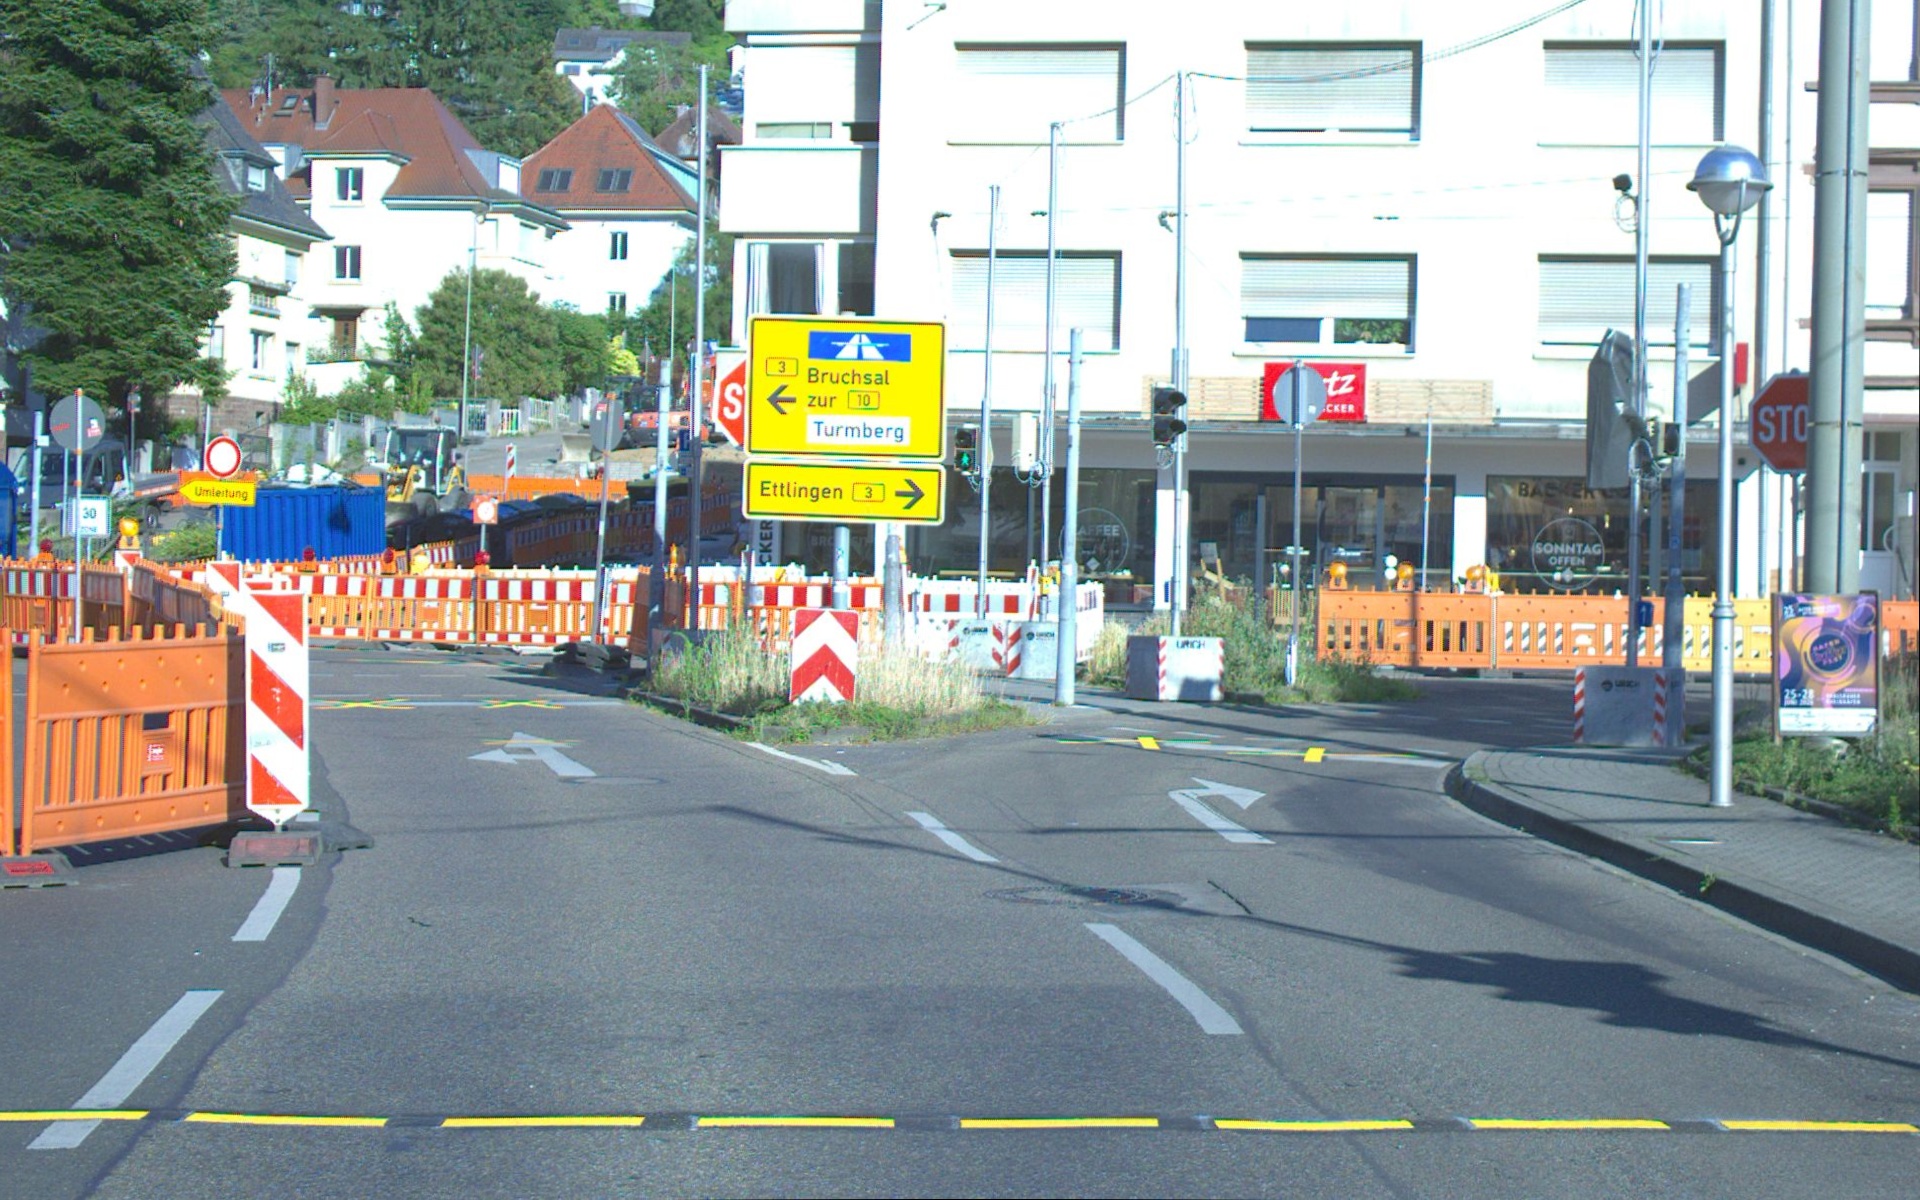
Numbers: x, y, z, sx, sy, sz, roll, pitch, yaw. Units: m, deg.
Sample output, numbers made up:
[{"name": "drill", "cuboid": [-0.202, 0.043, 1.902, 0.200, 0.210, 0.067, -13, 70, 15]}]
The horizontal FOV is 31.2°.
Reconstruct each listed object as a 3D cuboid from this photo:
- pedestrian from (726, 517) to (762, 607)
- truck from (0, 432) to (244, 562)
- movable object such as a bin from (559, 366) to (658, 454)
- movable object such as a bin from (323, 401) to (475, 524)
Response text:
[{"name": "pedestrian", "cuboid": [-4.299, -0.756, 68.395, 0.640, 1.754, 0.718, 1, 1, -1]}, {"name": "truck", "cuboid": [-17.214, -1.987, 68.645, 2.357, 2.407, 9.147, 1, 1, 11]}, {"name": "movable object such as a bin", "cuboid": [-11.588, -6.252, 113.442, 2.191, 2.681, 3.998, 1, 1, 10]}, {"name": "movable object such as a bin", "cuboid": [-12.883, -3.129, 79.176, 2.191, 2.681, 3.998, 1, 1, 10]}]
